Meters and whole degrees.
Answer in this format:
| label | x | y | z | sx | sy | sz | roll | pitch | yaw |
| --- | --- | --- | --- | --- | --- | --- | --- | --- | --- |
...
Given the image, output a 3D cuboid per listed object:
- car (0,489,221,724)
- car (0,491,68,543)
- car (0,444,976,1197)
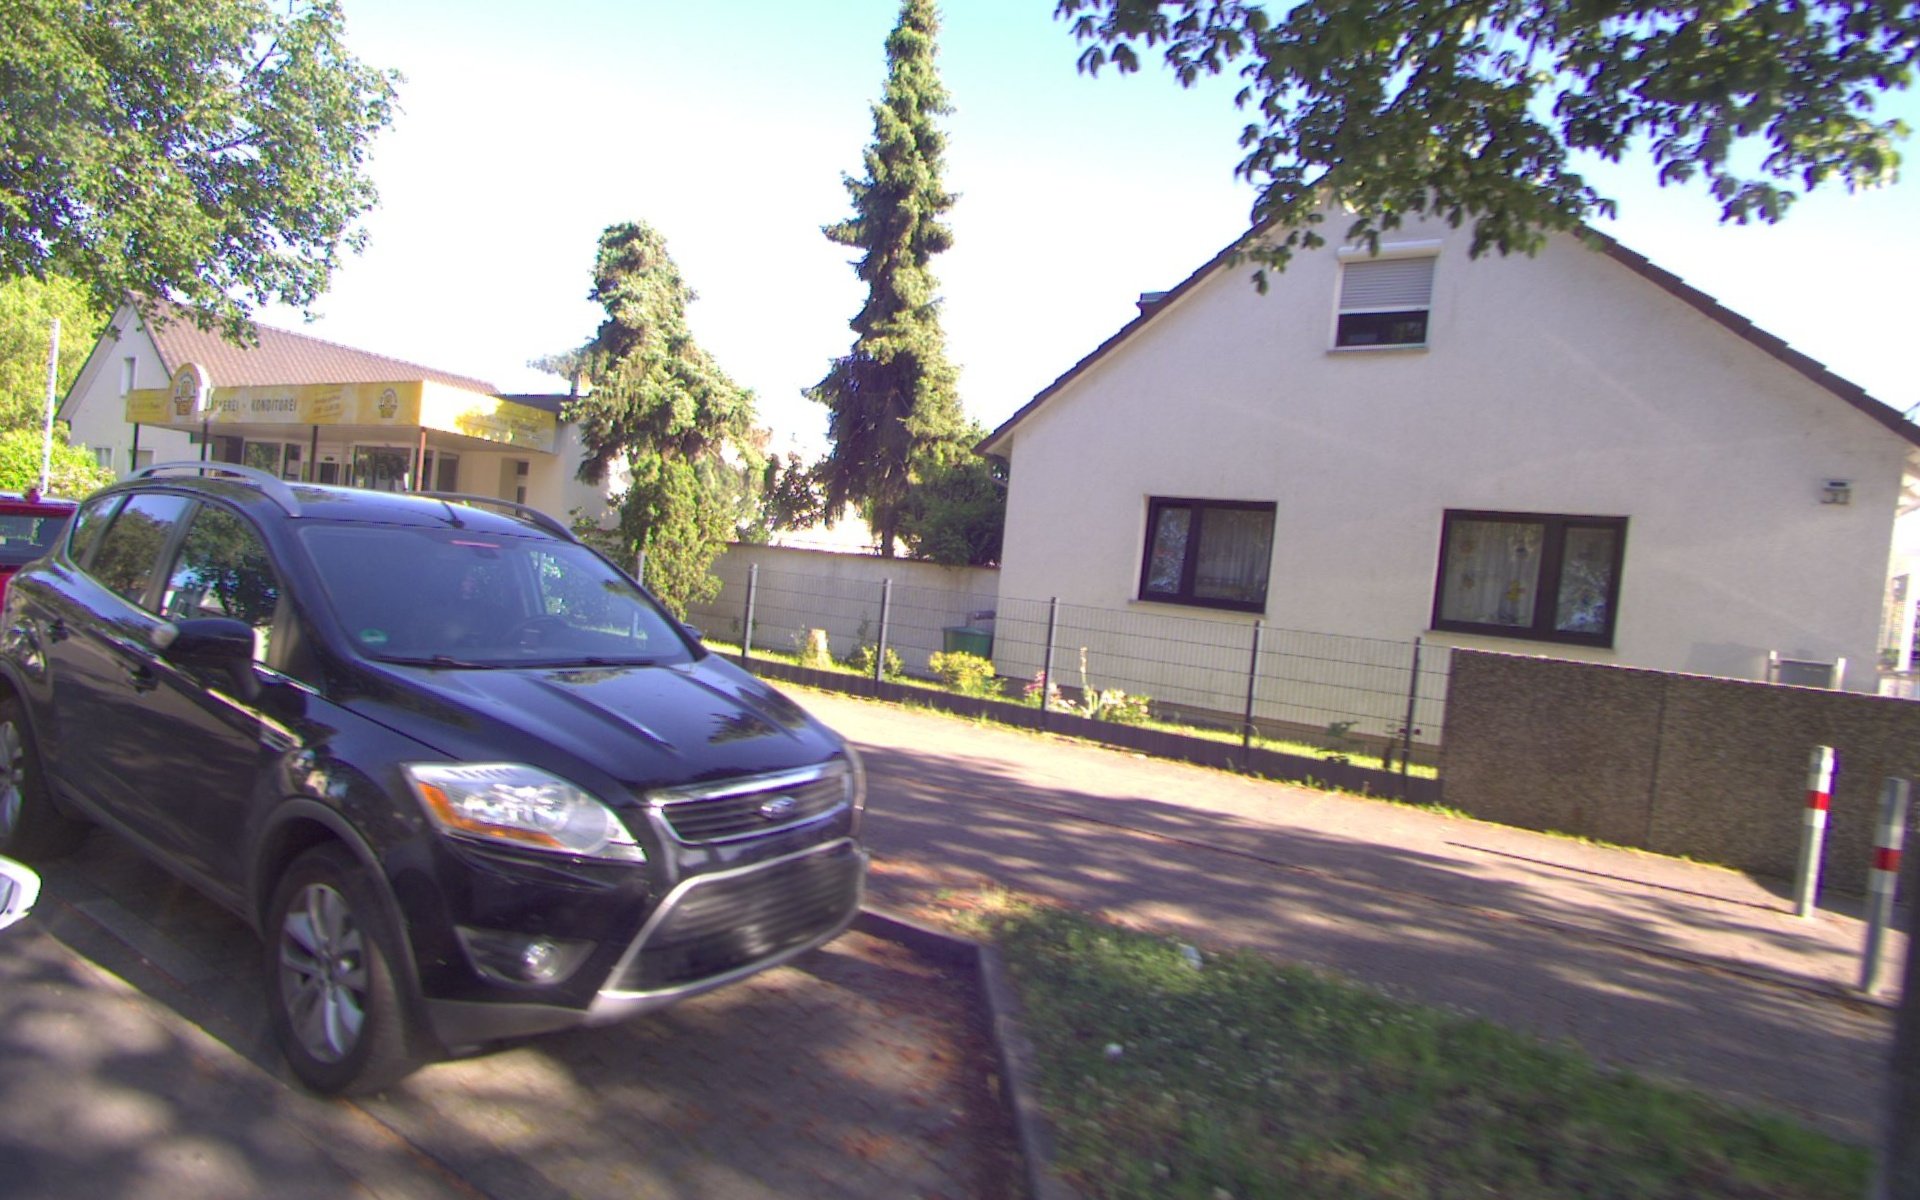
| label | x | y | z | sx | sy | sz | roll | pitch | yaw |
| --- | --- | --- | --- | --- | --- | --- | --- | --- | --- |
| car | -7.501 | -0.108 | 7.709 | 3.825 | 1.498 | 1.697 | 6 | 2 | 33 |
| car | -36.274 | -3.303 | 37.336 | 1.967 | 1.628 | 4.292 | 8 | 0 | 32 |
| car | -2.340 | 0.336 | 4.134 | 4.396 | 1.647 | 1.853 | 6 | 2 | 32 |
